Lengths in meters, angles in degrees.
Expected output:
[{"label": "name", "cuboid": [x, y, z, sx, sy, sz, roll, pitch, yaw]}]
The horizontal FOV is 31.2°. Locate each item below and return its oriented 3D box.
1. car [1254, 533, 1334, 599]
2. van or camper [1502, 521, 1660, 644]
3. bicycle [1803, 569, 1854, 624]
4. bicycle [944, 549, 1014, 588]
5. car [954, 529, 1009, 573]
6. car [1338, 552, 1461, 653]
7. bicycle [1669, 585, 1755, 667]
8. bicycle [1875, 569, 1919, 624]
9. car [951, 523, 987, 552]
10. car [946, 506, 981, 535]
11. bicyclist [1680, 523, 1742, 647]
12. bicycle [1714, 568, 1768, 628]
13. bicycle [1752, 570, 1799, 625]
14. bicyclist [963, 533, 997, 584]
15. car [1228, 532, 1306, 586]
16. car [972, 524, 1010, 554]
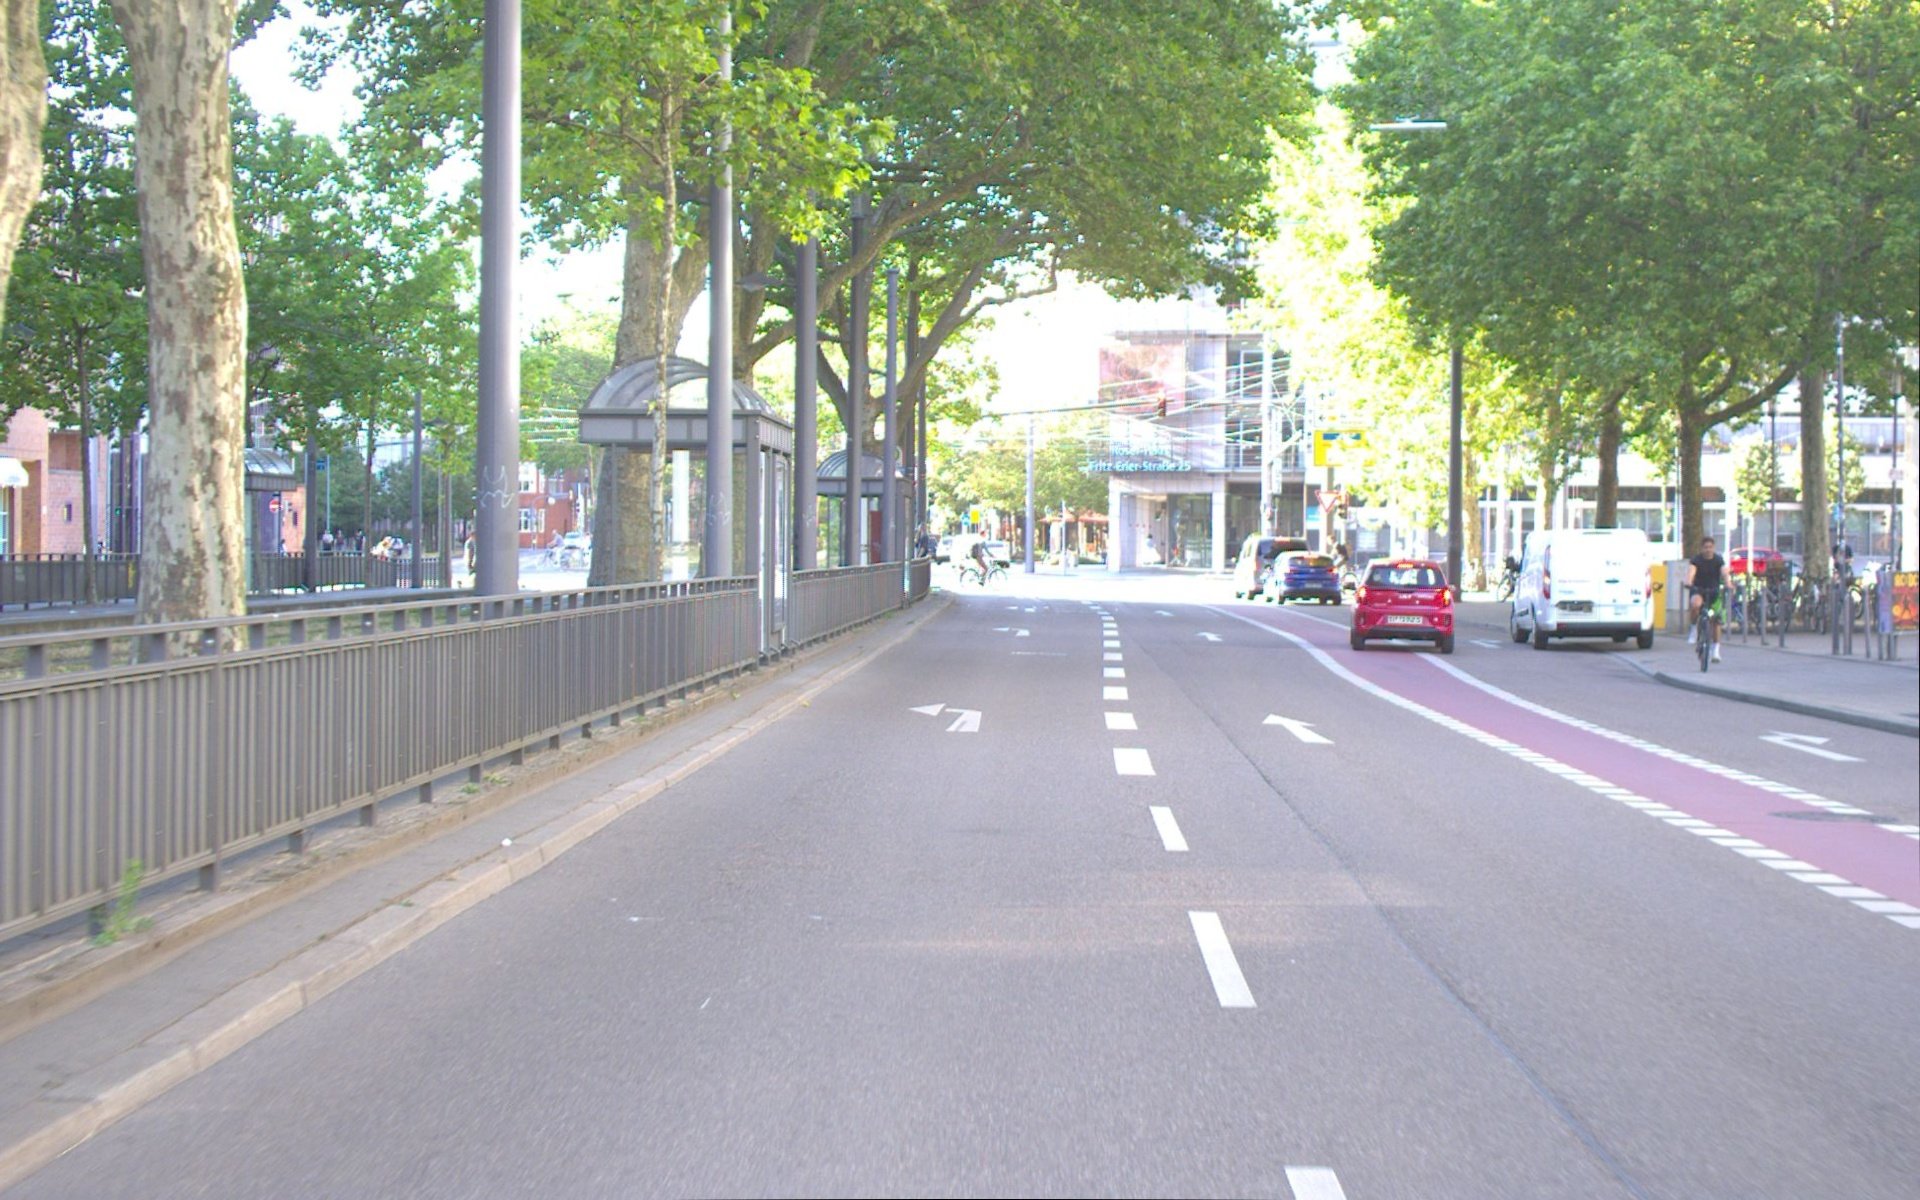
[{"label": "car", "cuboid": [9.290, -0.969, 95.727, 1.635, 1.794, 3.330, 0, 1, -5]}, {"label": "van or camper", "cuboid": [10.471, -0.332, 58.265, 1.994, 1.982, 4.744, 1, 1, 2]}, {"label": "bicycle", "cuboid": [16.058, -0.069, 63.576, 0.503, 0.978, 1.768, -1, 1, 1]}, {"label": "bicycle", "cuboid": [0.598, -0.996, 108.616, 2.011, 1.210, 0.840, 0, 1, -18]}, {"label": "car", "cuboid": [0.783, -1.815, 126.178, 1.777, 1.529, 3.513, 1, 1, -3]}, {"label": "car", "cuboid": [7.115, 0.012, 55.861, 1.613, 1.529, 3.412, 1, 1, 2]}, {"label": "bicycle", "cuboid": [10.422, 0.350, 47.713, 0.683, 1.063, 2.469, -1, 1, 1]}, {"label": "bicycle", "cuboid": [17.398, -0.069, 63.564, 0.503, 0.978, 1.768, -1, 1, 1]}, {"label": "car", "cuboid": [0.473, -3.454, 190.267, 1.777, 1.529, 3.412, 1, 1, -3]}, {"label": "car", "cuboid": [0.200, -4.549, 196.268, 1.777, 1.583, 3.412, 1, 1, -3]}, {"label": "bicyclist", "cuboid": [10.434, -0.215, 47.796, 0.649, 1.696, 0.952, 1, 1, 1]}, {"label": "bicycle", "cuboid": [14.444, -0.046, 63.595, 0.586, 1.063, 1.900, -1, 1, 1]}, {"label": "bicycle", "cuboid": [15.085, -0.046, 63.593, 0.467, 0.978, 1.768, -1, 1, 1]}, {"label": "bicyclist", "cuboid": [0.632, -1.321, 108.607, 0.836, 1.586, 0.840, 1, 1, -18]}, {"label": "car", "cuboid": [9.074, -1.229, 101.700, 1.777, 1.529, 3.513, 1, 1, -3]}, {"label": "car", "cuboid": [1.628, -3.283, 183.637, 1.777, 1.529, 3.412, 1, 1, -3]}]
